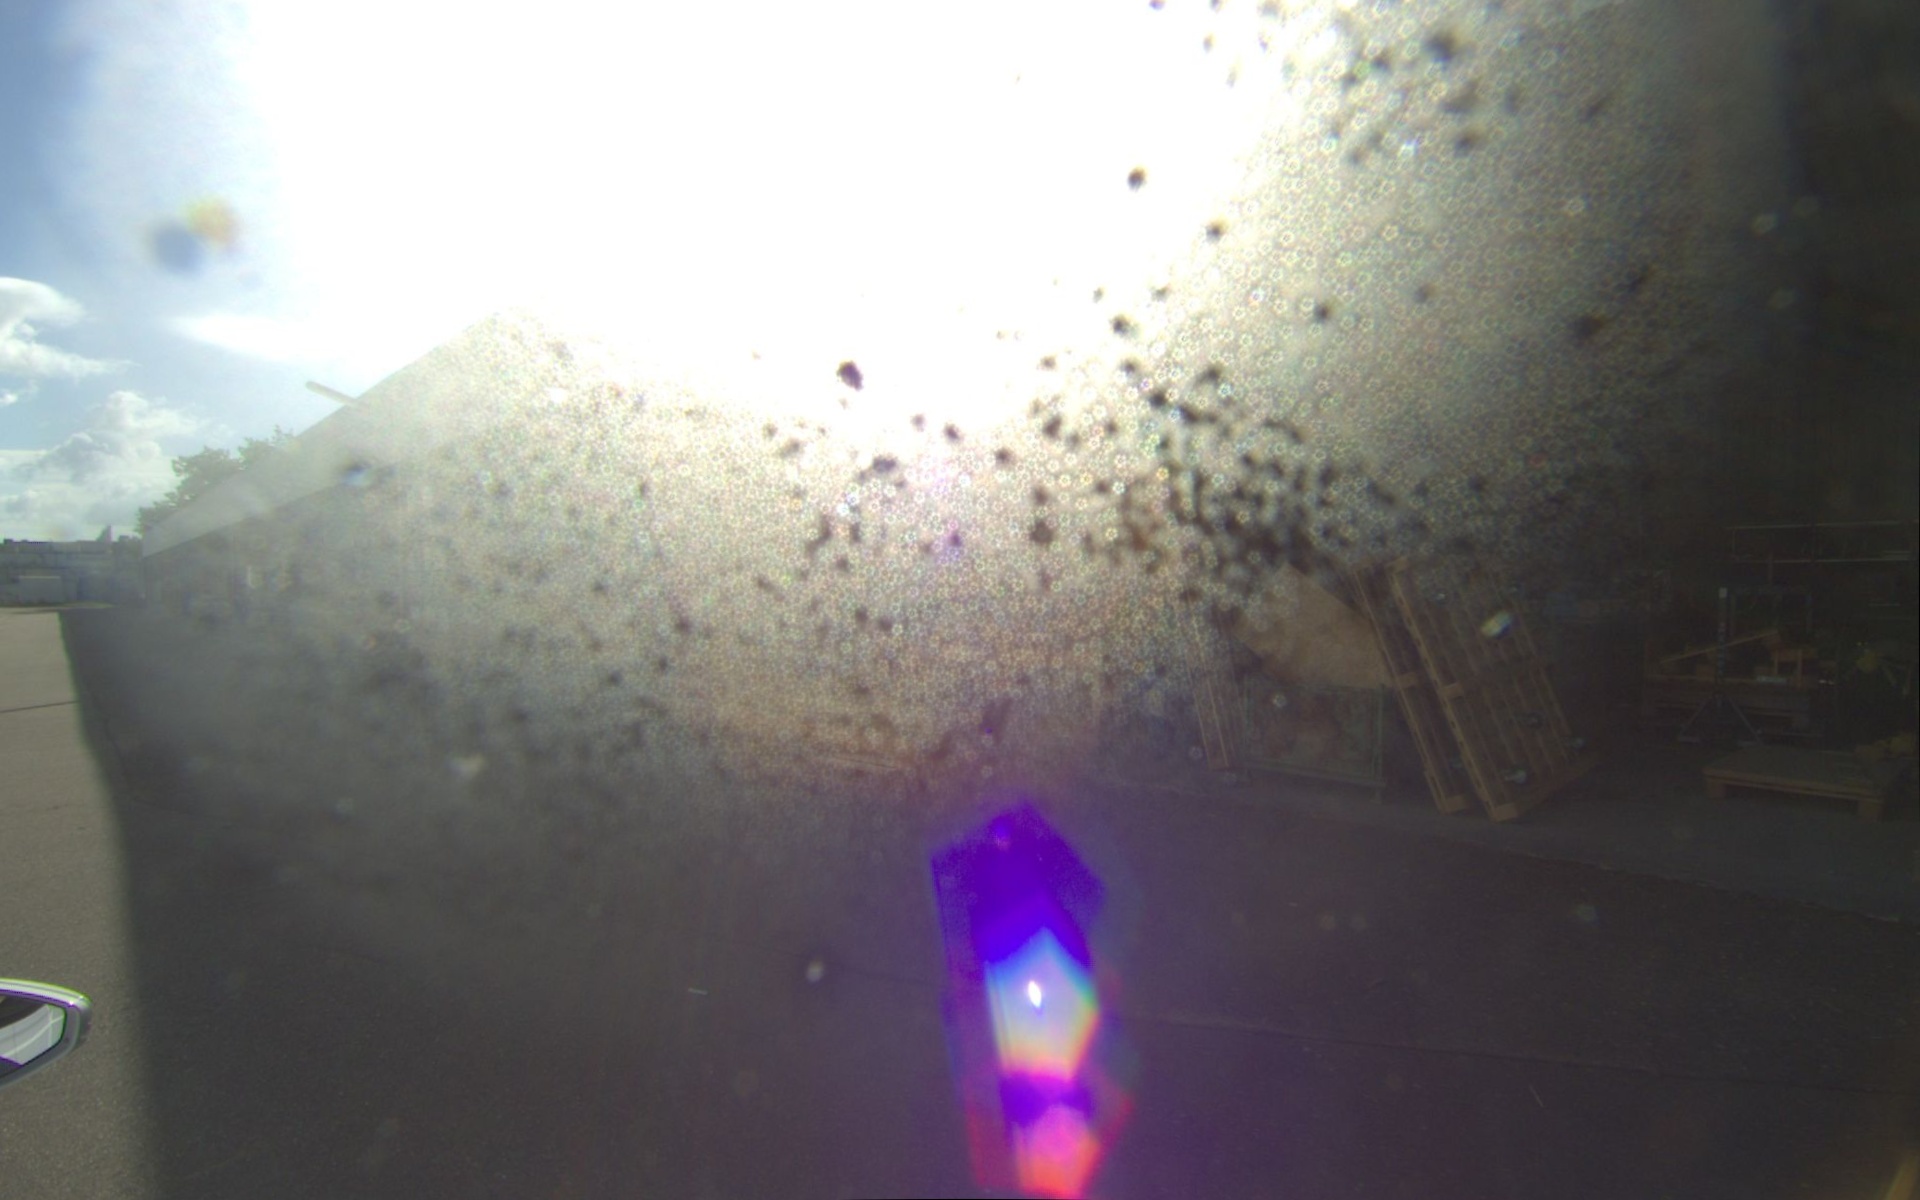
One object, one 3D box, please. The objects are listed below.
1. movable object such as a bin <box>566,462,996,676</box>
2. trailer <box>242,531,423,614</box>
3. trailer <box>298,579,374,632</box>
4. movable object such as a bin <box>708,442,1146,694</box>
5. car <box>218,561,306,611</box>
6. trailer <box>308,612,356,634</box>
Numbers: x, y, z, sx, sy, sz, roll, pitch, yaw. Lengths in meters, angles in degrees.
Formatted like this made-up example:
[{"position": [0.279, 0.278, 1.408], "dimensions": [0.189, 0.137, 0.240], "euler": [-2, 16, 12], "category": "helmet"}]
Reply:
[{"position": [-2.755, -0.512, 17.095], "dimensions": [6.885, 2.945, 2.660], "euler": [-2, 2, -43], "category": "movable object such as a bin"}, {"position": [-27.740, -1.212, 44.436], "dimensions": [6.344, 3.417, 2.797], "euler": [-2, 2, -44], "category": "trailer"}, {"position": [-19.223, 0.168, 30.849], "dimensions": [1.892, 1.539, 1.537], "euler": [3, 1, 43], "category": "trailer"}, {"position": [-0.217, -0.454, 14.829], "dimensions": [6.308, 2.945, 2.660], "euler": [-2, 2, -43], "category": "movable object such as a bin"}, {"position": [-36.070, -0.739, 51.774], "dimensions": [3.479, 2.475, 1.981], "euler": [-2, 2, -42], "category": "car"}, {"position": [-17.576, 0.639, 28.032], "dimensions": [0.724, 0.575, 0.965], "euler": [3, 1, 43], "category": "trailer"}]
